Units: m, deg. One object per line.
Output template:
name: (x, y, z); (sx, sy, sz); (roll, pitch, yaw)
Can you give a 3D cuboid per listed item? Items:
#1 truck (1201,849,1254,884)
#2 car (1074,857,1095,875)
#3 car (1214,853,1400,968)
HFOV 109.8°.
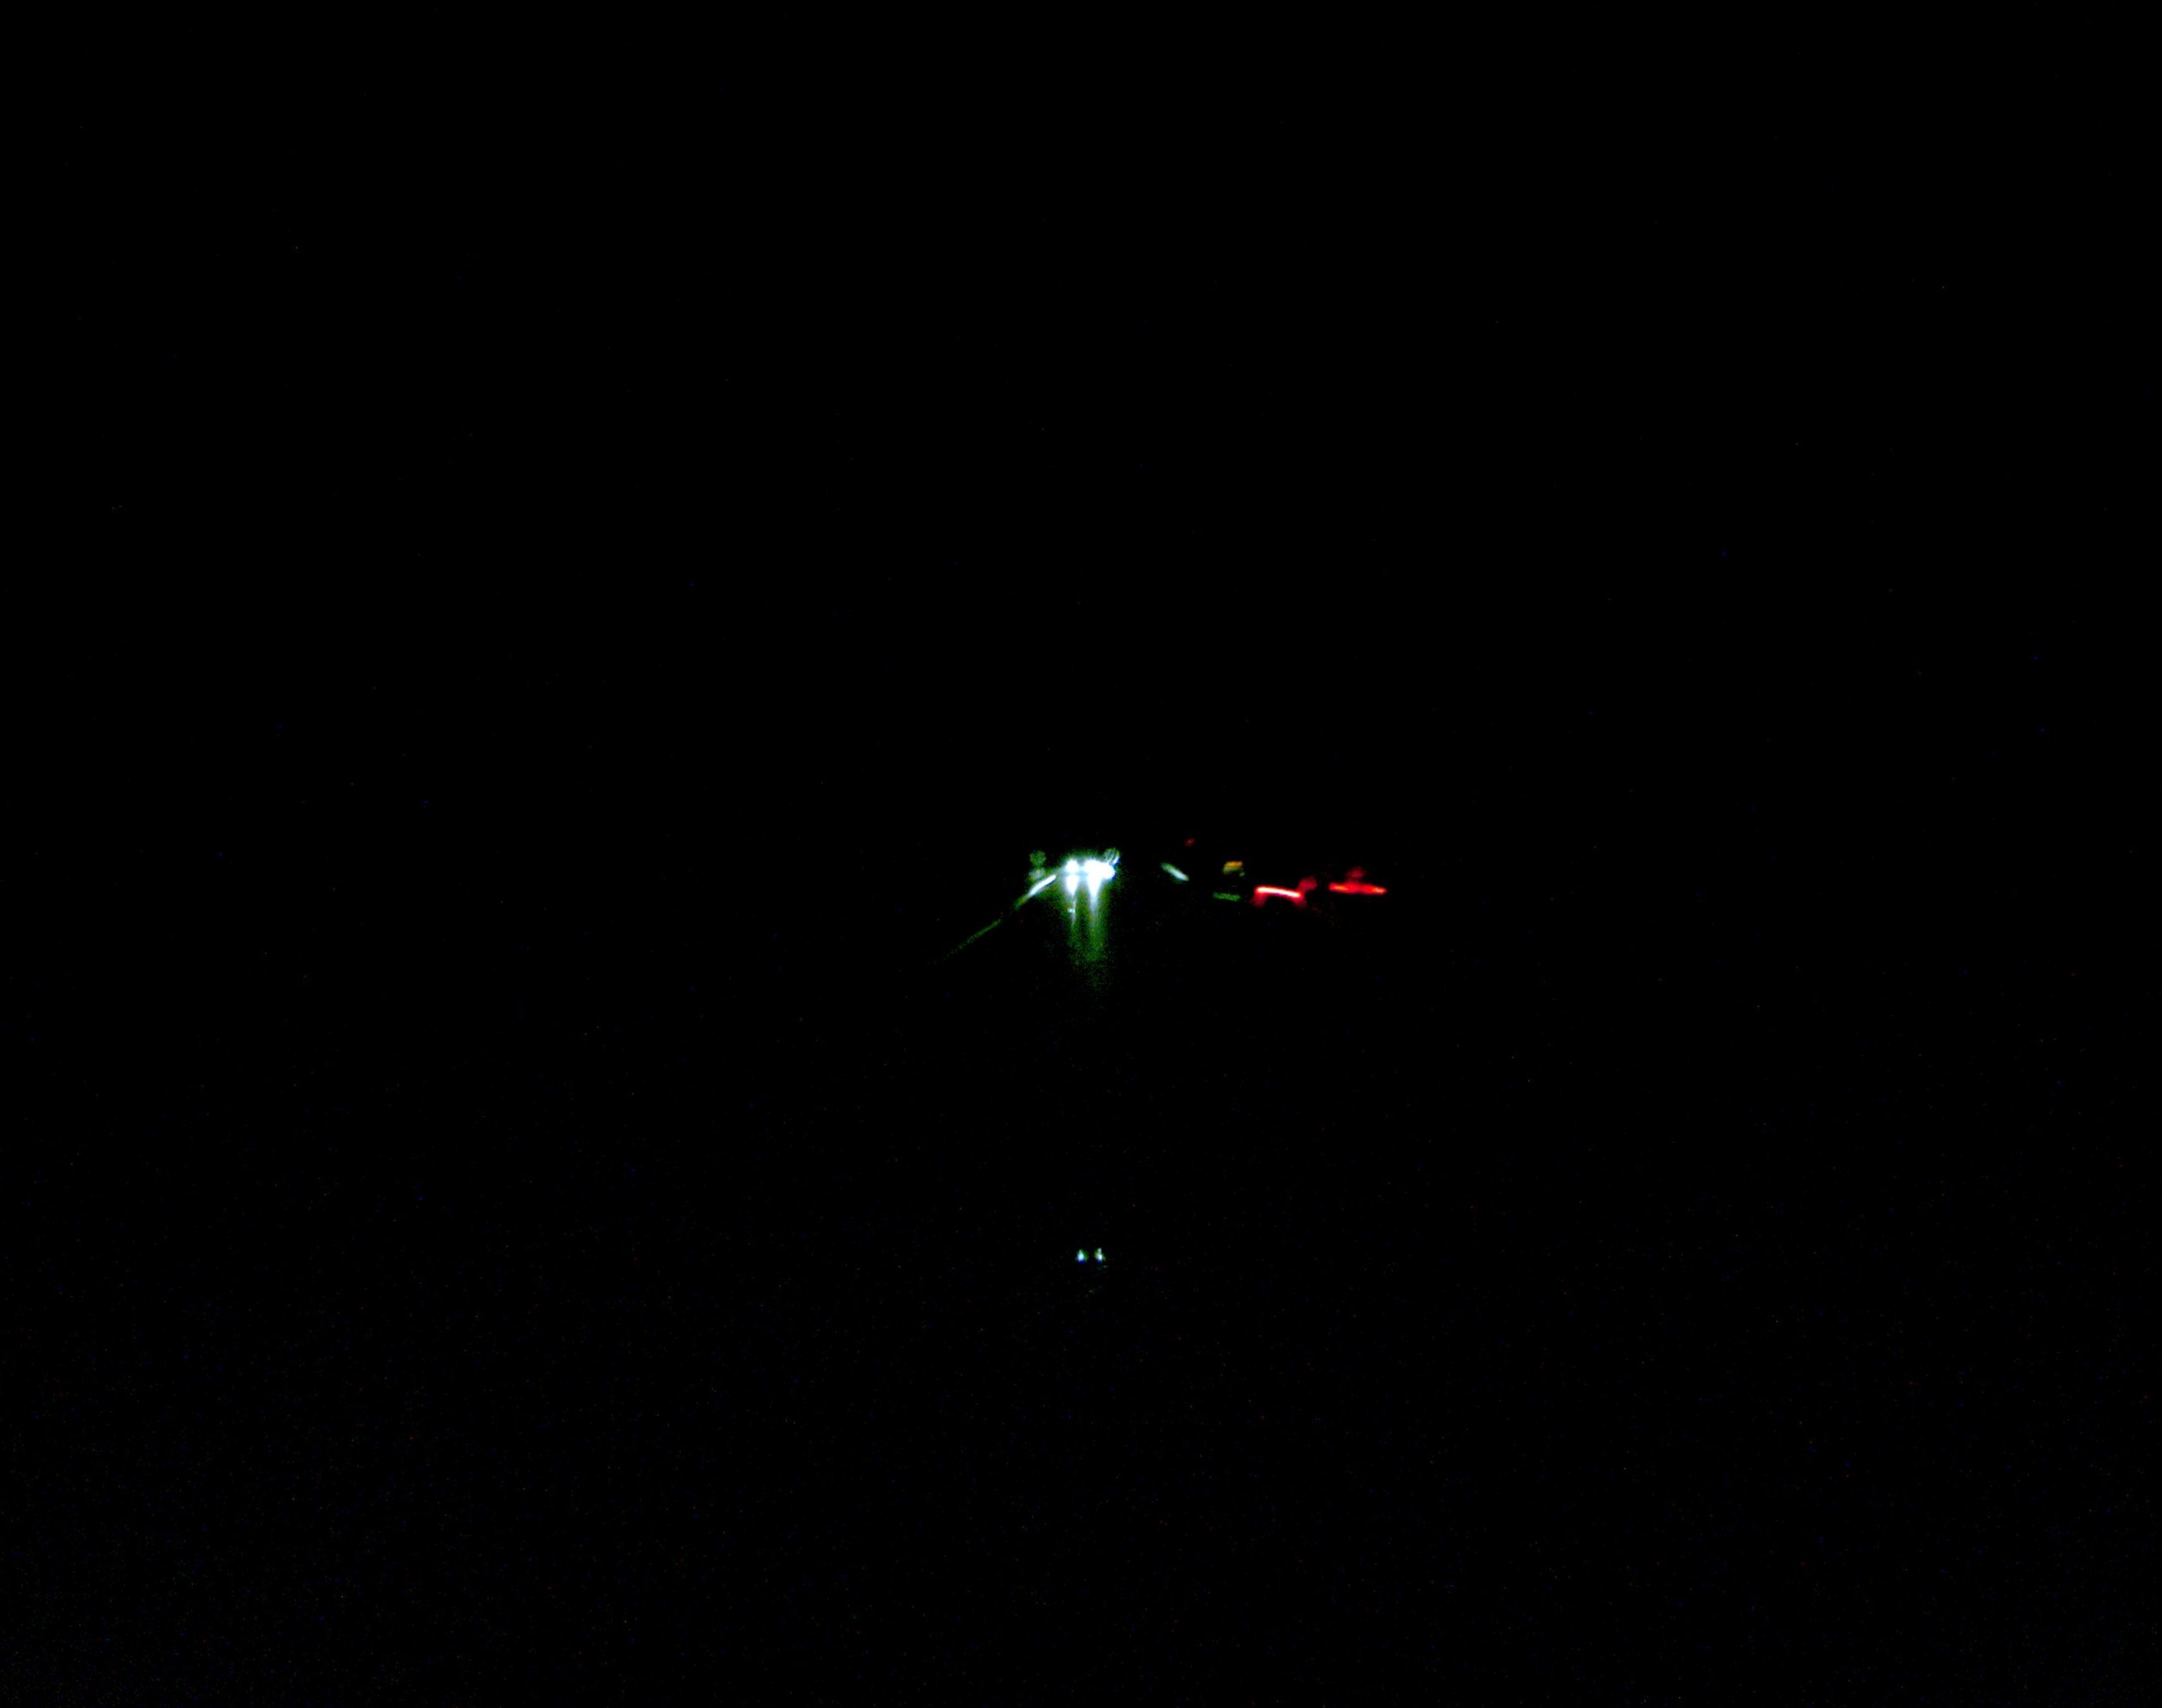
truck: (13.451, 1.029, 70.622); (2.933, 2.819, 10.464); (-2, 1, 1)
car: (0.325, 1.040, 69.255); (1.807, 1.452, 4.275); (-3, 0, 0)
car: (3.336, 0.771, 11.881); (1.998, 1.475, 3.216); (-1, 1, 1)
